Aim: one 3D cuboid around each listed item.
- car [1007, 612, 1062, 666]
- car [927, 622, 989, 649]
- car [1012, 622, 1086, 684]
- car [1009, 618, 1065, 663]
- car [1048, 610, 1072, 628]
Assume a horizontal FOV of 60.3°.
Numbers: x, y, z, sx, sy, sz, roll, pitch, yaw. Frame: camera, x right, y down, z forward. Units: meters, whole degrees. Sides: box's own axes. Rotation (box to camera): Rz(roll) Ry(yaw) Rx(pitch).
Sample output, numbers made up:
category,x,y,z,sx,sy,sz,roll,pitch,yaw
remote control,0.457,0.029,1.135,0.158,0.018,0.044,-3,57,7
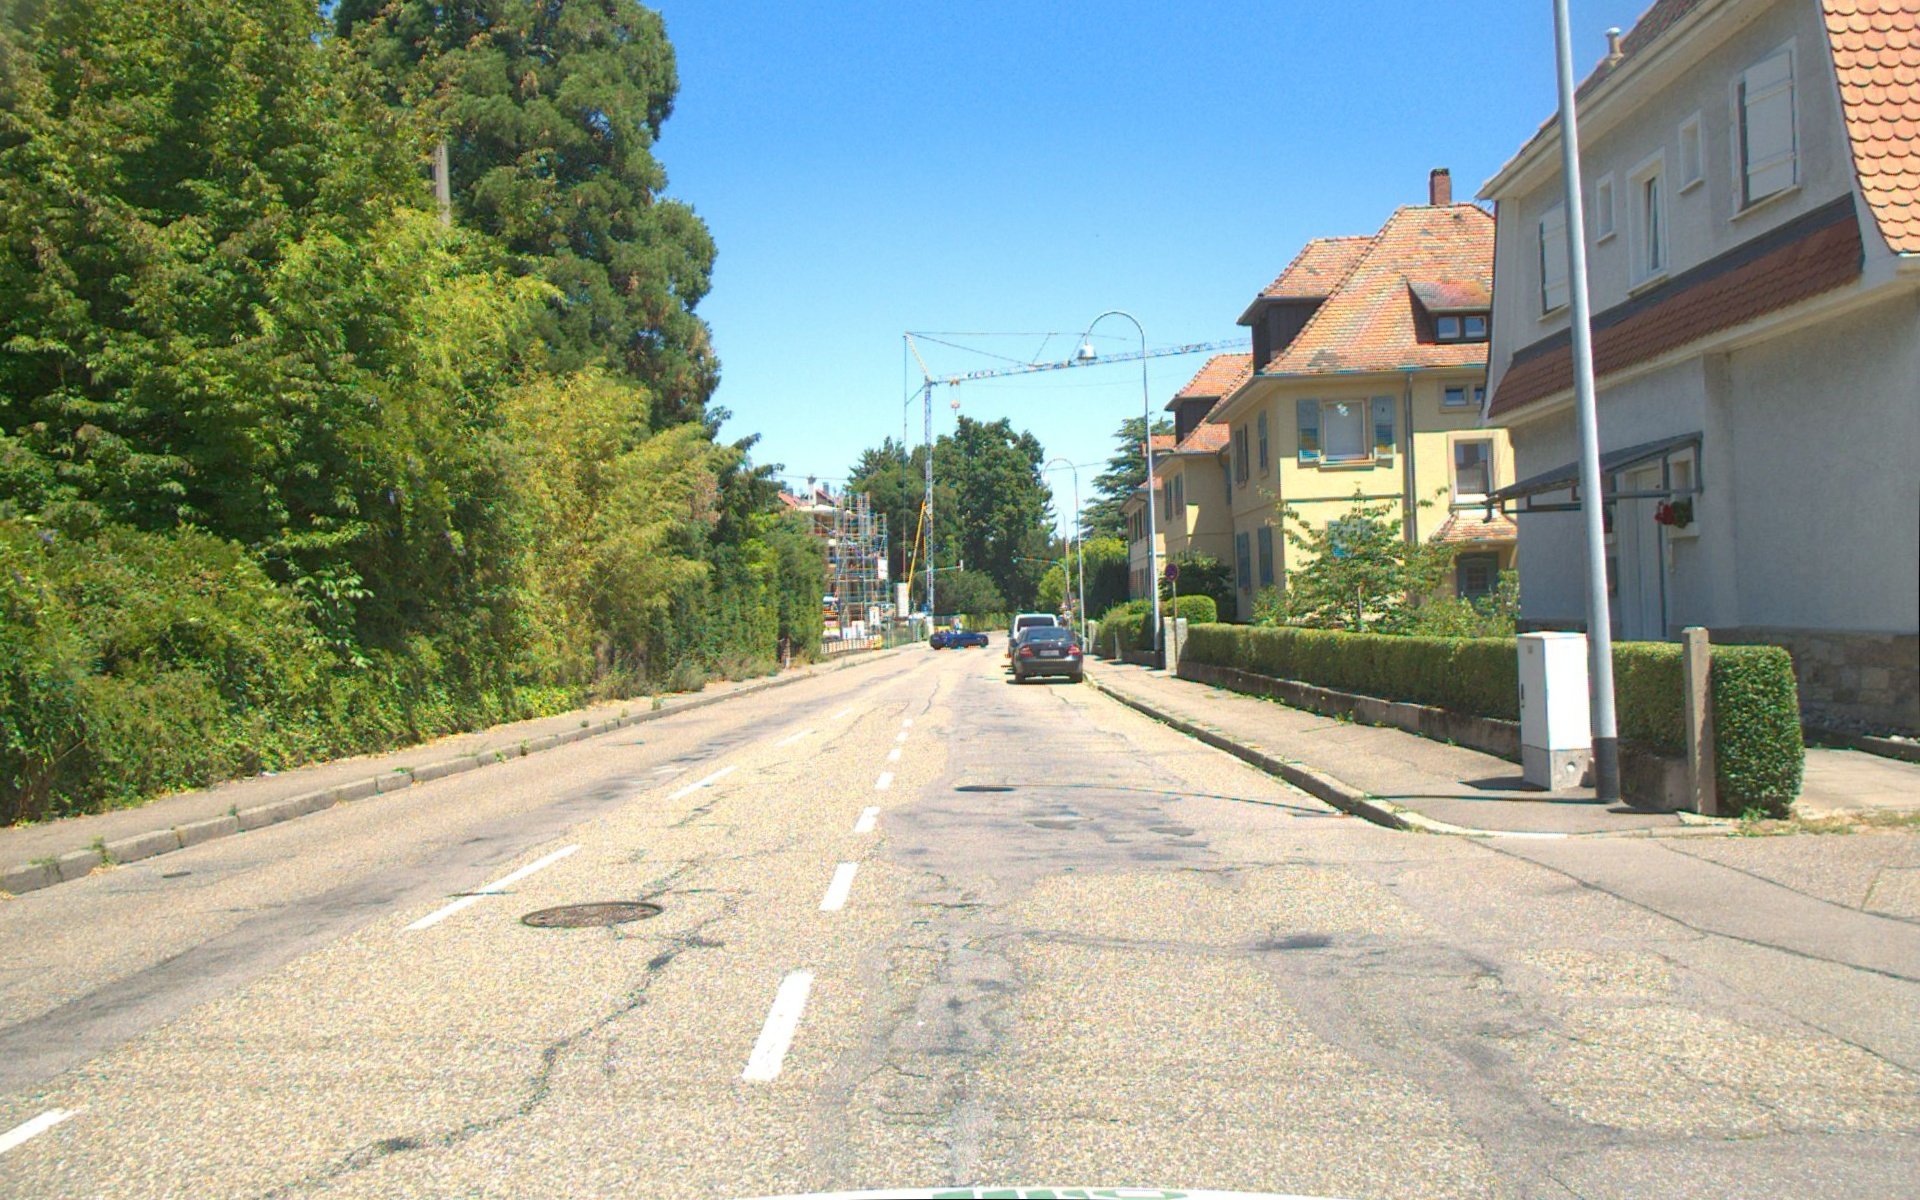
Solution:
category,x,y,z,sx,sy,sz,roll,pitch,yaw
car,2.784,1.462,62.728,1.952,1.934,4.823,0,-1,1
car,-0.120,2.370,110.844,1.931,1.493,3.975,-4,0,43
car,2.247,1.333,42.667,1.658,1.443,4.550,-2,-1,0
car,2.664,1.388,57.791,1.725,1.477,3.648,-2,-1,0
car,9.958,1.878,164.470,1.951,1.691,4.003,-3,-1,8
